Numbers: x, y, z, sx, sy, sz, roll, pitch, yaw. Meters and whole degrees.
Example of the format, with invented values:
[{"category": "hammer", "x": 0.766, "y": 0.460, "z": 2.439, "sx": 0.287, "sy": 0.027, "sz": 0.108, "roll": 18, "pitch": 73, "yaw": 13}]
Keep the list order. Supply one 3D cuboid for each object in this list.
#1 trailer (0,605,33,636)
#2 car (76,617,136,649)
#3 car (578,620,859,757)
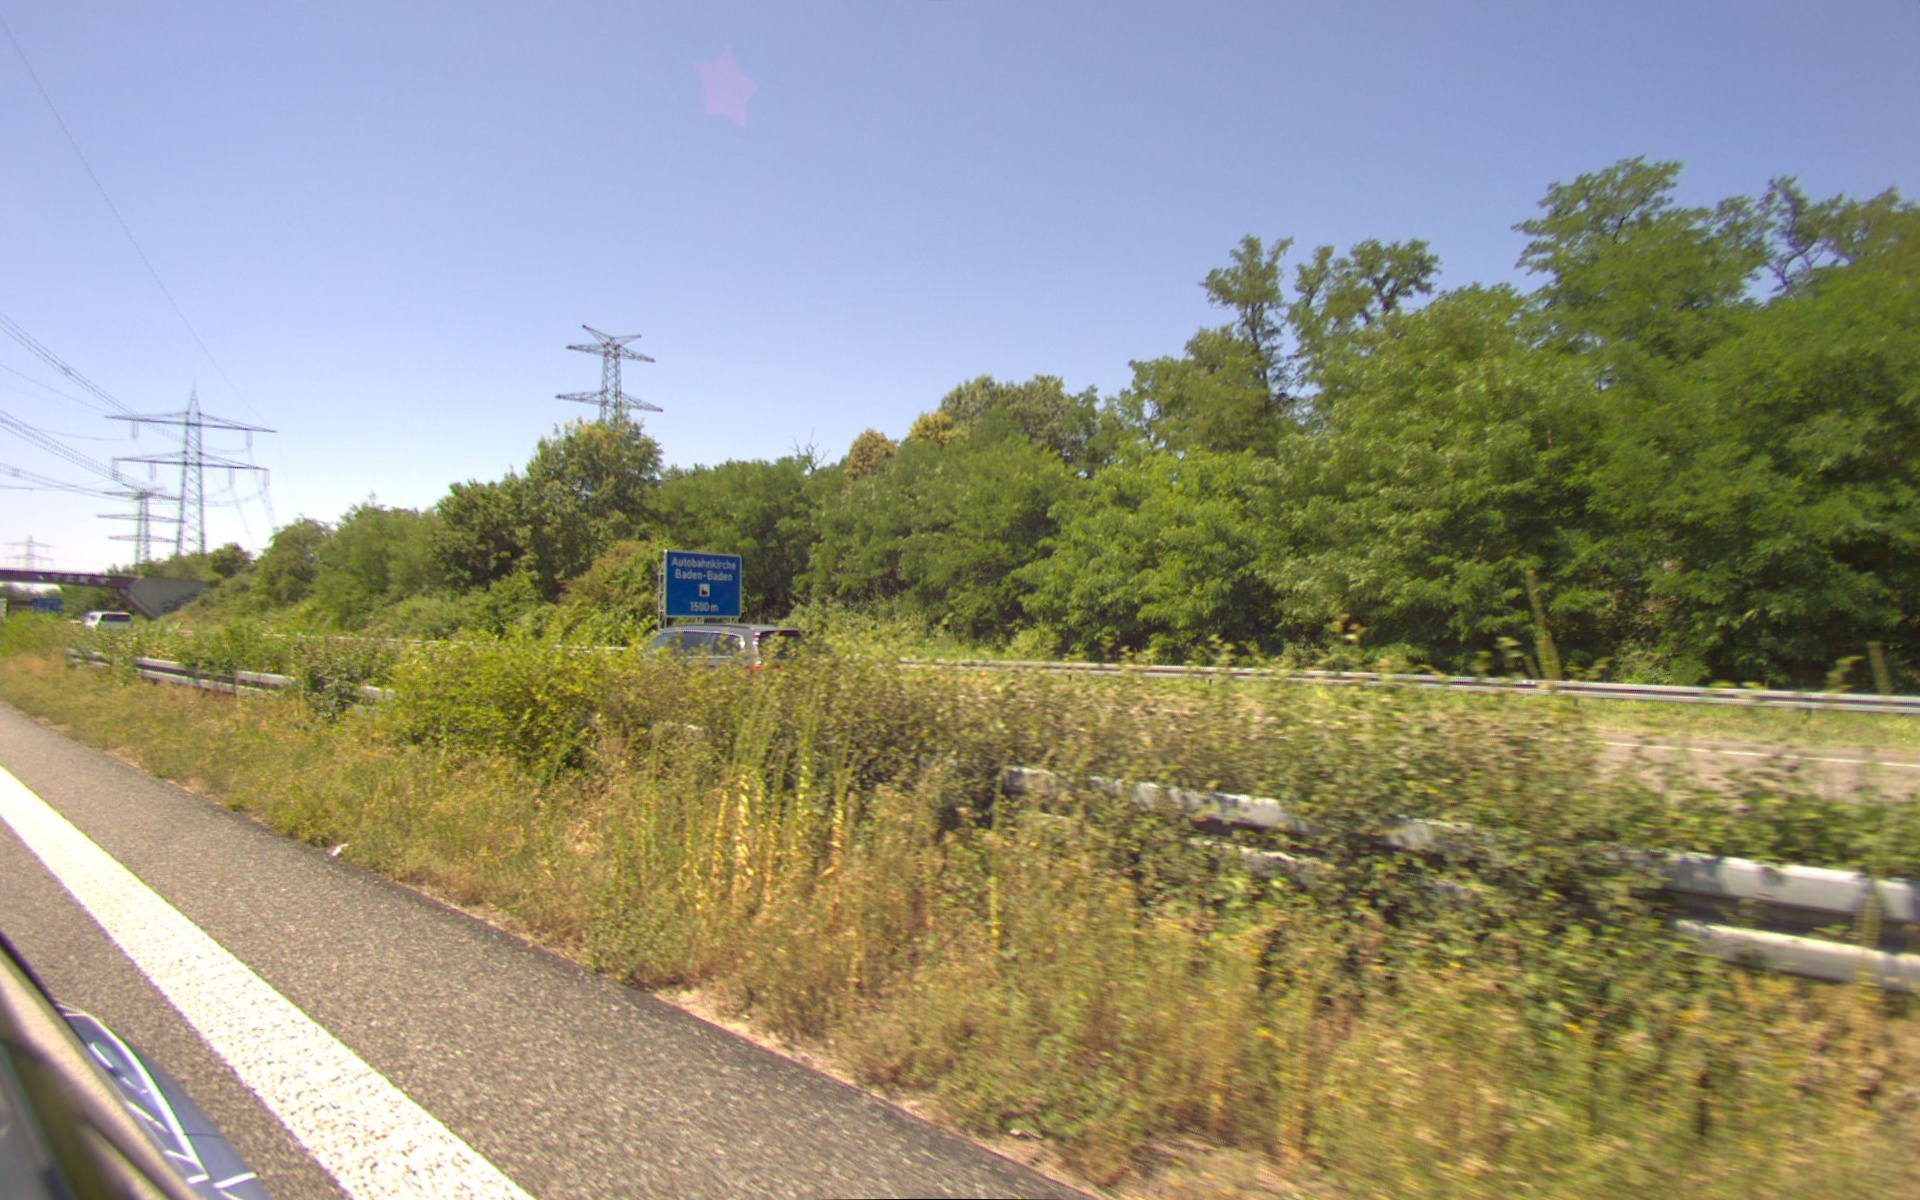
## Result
[{"category": "trailer", "x": -118.879, "y": 2.522, "z": 126.625, "sx": 12.711, "sy": 3.716, "sz": 2.844, "roll": -1, "pitch": -3, "yaw": 41}, {"category": "car", "x": -55.022, "y": 2.120, "z": 65.186, "sx": 5.409, "sy": 1.947, "sz": 1.973, "roll": -1, "pitch": -3, "yaw": 40}, {"category": "car", "x": -3.414, "y": 1.105, "z": 13.974, "sx": 3.998, "sy": 1.614, "sz": 1.794, "roll": -1, "pitch": -2, "yaw": 41}]
